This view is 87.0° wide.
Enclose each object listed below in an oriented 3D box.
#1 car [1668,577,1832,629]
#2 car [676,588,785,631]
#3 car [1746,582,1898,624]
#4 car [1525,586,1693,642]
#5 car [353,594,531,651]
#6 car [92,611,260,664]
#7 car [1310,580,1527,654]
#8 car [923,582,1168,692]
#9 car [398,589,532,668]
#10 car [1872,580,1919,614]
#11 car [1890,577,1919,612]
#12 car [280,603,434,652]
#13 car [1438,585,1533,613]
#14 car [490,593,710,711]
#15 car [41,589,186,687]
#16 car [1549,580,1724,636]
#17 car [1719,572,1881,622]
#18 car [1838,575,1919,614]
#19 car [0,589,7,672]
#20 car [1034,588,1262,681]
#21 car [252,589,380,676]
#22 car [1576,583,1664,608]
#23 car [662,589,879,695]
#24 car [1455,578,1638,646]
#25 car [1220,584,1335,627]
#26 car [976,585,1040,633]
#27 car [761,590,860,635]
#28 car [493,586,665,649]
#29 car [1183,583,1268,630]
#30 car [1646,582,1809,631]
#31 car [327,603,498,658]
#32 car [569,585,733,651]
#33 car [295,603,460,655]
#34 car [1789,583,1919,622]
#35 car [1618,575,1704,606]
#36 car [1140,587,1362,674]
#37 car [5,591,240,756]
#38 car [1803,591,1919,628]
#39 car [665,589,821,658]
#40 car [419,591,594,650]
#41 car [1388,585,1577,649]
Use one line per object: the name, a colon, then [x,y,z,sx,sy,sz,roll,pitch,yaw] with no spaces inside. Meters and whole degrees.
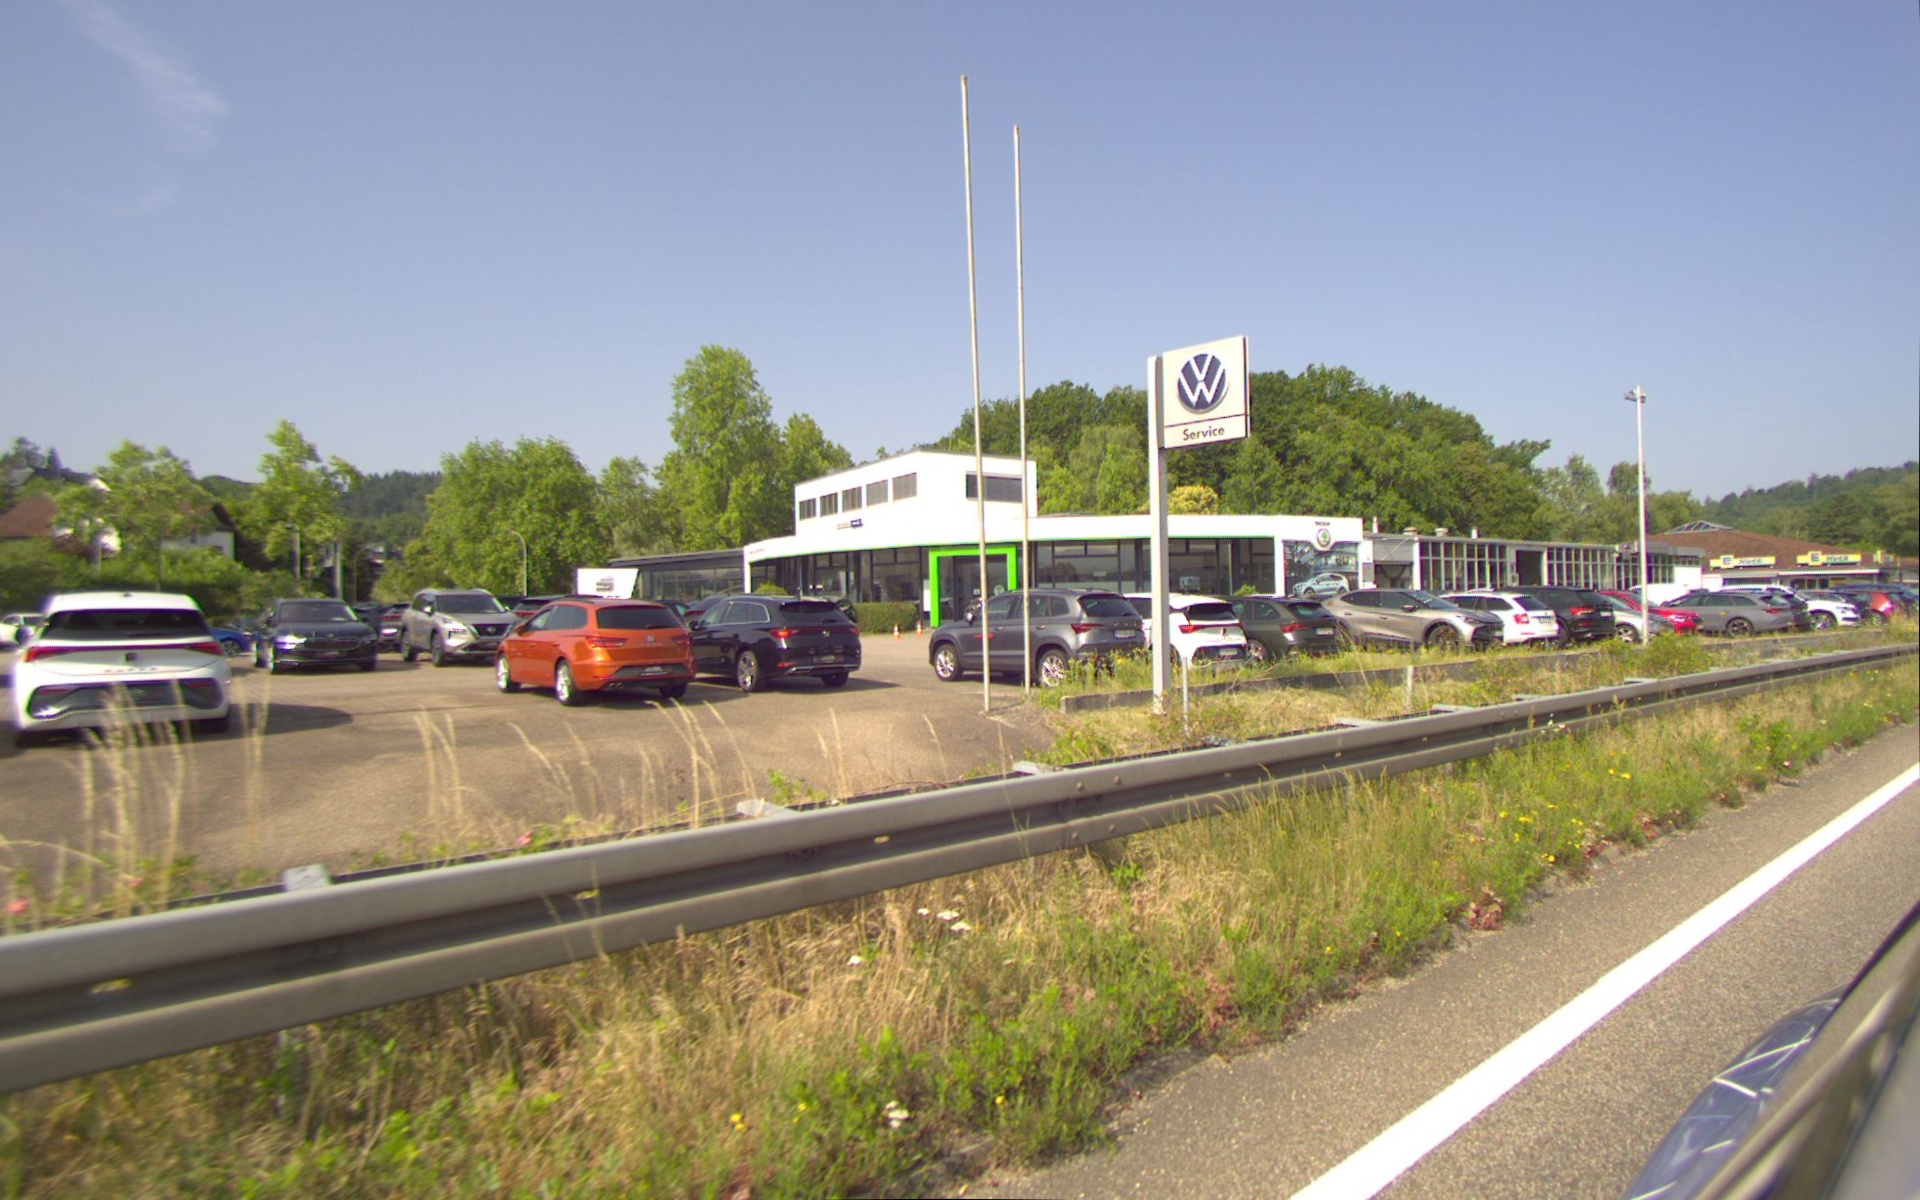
car: [26.721,0.076,34.350,1.884,1.652,4.001,-1,0,-33]
car: [-9.080,0.332,40.343,1.777,1.584,4.308,0,1,32]
car: [32.155,0.104,37.855,1.914,1.470,4.000,-1,0,-35]
car: [18.504,0.352,29.005,1.633,1.477,3.744,-1,1,-34]
car: [-15.888,0.627,31.303,1.988,1.565,4.557,0,1,32]
car: [-26.489,1.209,34.354,4.381,1.565,1.838,-1,1,-38]
car: [10.981,0.333,24.506,1.821,1.620,4.458,-1,1,-38]
car: [1.335,0.548,17.159,1.761,1.630,4.083,-1,0,-41]
car: [-11.505,0.566,23.362,1.896,1.584,4.749,-1,1,-37]
car: [43.673,-0.152,45.214,1.770,1.526,4.056,-1,1,-32]
car: [46.141,-0.251,46.954,1.843,1.637,4.062,-1,1,-32]
car: [-21.949,0.955,36.951,4.534,1.565,1.999,-1,1,-44]
car: [28.764,-0.100,55.478,1.757,1.483,4.323,-1,1,-36]
car: [-5.382,0.655,14.825,1.792,1.464,3.995,-1,0,-39]
car: [-15.974,0.610,19.311,1.896,1.584,4.749,-1,1,-37]
car: [20.411,0.196,30.687,1.747,1.571,4.097,-1,1,-34]
car: [29.545,-0.111,35.705,1.883,1.652,4.004,-1,0,-30]
car: [41.573,-0.243,44.336,1.913,1.660,4.371,-1,0,-33]
car: [-18.149,0.617,17.513,1.896,1.584,4.749,-1,1,-37]
car: [3.364,0.563,18.700,1.758,1.513,3.997,-1,0,-38]
car: [-13.707,0.581,21.420,1.896,1.584,4.749,-1,1,-37]
car: [41.325,-0.319,63.456,1.757,1.483,4.323,-1,1,-36]
car: [-3.205,0.600,16.598,1.809,1.505,3.995,-1,0,-39]
car: [15.668,0.262,27.236,1.803,1.684,3.895,-1,1,-31]
car: [11.784,0.146,37.908,1.753,1.507,4.731,0,1,-17]
car: [1.756,0.262,35.696,1.761,1.584,4.345,0,1,10]
car: [-5.677,0.414,38.960,1.771,1.584,4.321,0,1,24]
car: [-10.631,0.420,28.634,1.909,1.584,4.718,0,1,22]
car: [9.481,0.184,36.490,1.756,1.584,4.359,0,1,-2]
car: [24.645,0.197,32.597,1.713,1.477,3.849,-1,0,-36]
car: [-17.809,0.939,33.106,1.992,1.565,4.548,0,1,37]
car: [-8.167,0.411,27.272,1.906,1.584,4.725,0,1,18]
car: [-19.989,0.950,34.871,1.995,1.565,4.542,1,1,41]
car: [34.767,0.083,39.235,1.788,1.424,3.742,-1,0,-35]
car: [45.946,-0.635,66.413,1.756,1.949,4.325,-1,1,-34]
car: [5.579,0.532,19.852,1.698,1.513,3.999,-1,0,-36]
car: [-9.557,0.684,11.658,1.792,1.535,4.101,-1,0,-39]
car: [36.947,0.362,41.155,1.745,1.446,3.745,-1,0,-35]
car: [-5.498,0.530,26.379,1.906,1.584,4.725,0,1,18]
car: [-13.332,0.541,30.062,1.984,1.565,4.568,0,1,27]
car: [13.281,0.368,25.961,1.688,1.504,4.053,-1,1,-31]
